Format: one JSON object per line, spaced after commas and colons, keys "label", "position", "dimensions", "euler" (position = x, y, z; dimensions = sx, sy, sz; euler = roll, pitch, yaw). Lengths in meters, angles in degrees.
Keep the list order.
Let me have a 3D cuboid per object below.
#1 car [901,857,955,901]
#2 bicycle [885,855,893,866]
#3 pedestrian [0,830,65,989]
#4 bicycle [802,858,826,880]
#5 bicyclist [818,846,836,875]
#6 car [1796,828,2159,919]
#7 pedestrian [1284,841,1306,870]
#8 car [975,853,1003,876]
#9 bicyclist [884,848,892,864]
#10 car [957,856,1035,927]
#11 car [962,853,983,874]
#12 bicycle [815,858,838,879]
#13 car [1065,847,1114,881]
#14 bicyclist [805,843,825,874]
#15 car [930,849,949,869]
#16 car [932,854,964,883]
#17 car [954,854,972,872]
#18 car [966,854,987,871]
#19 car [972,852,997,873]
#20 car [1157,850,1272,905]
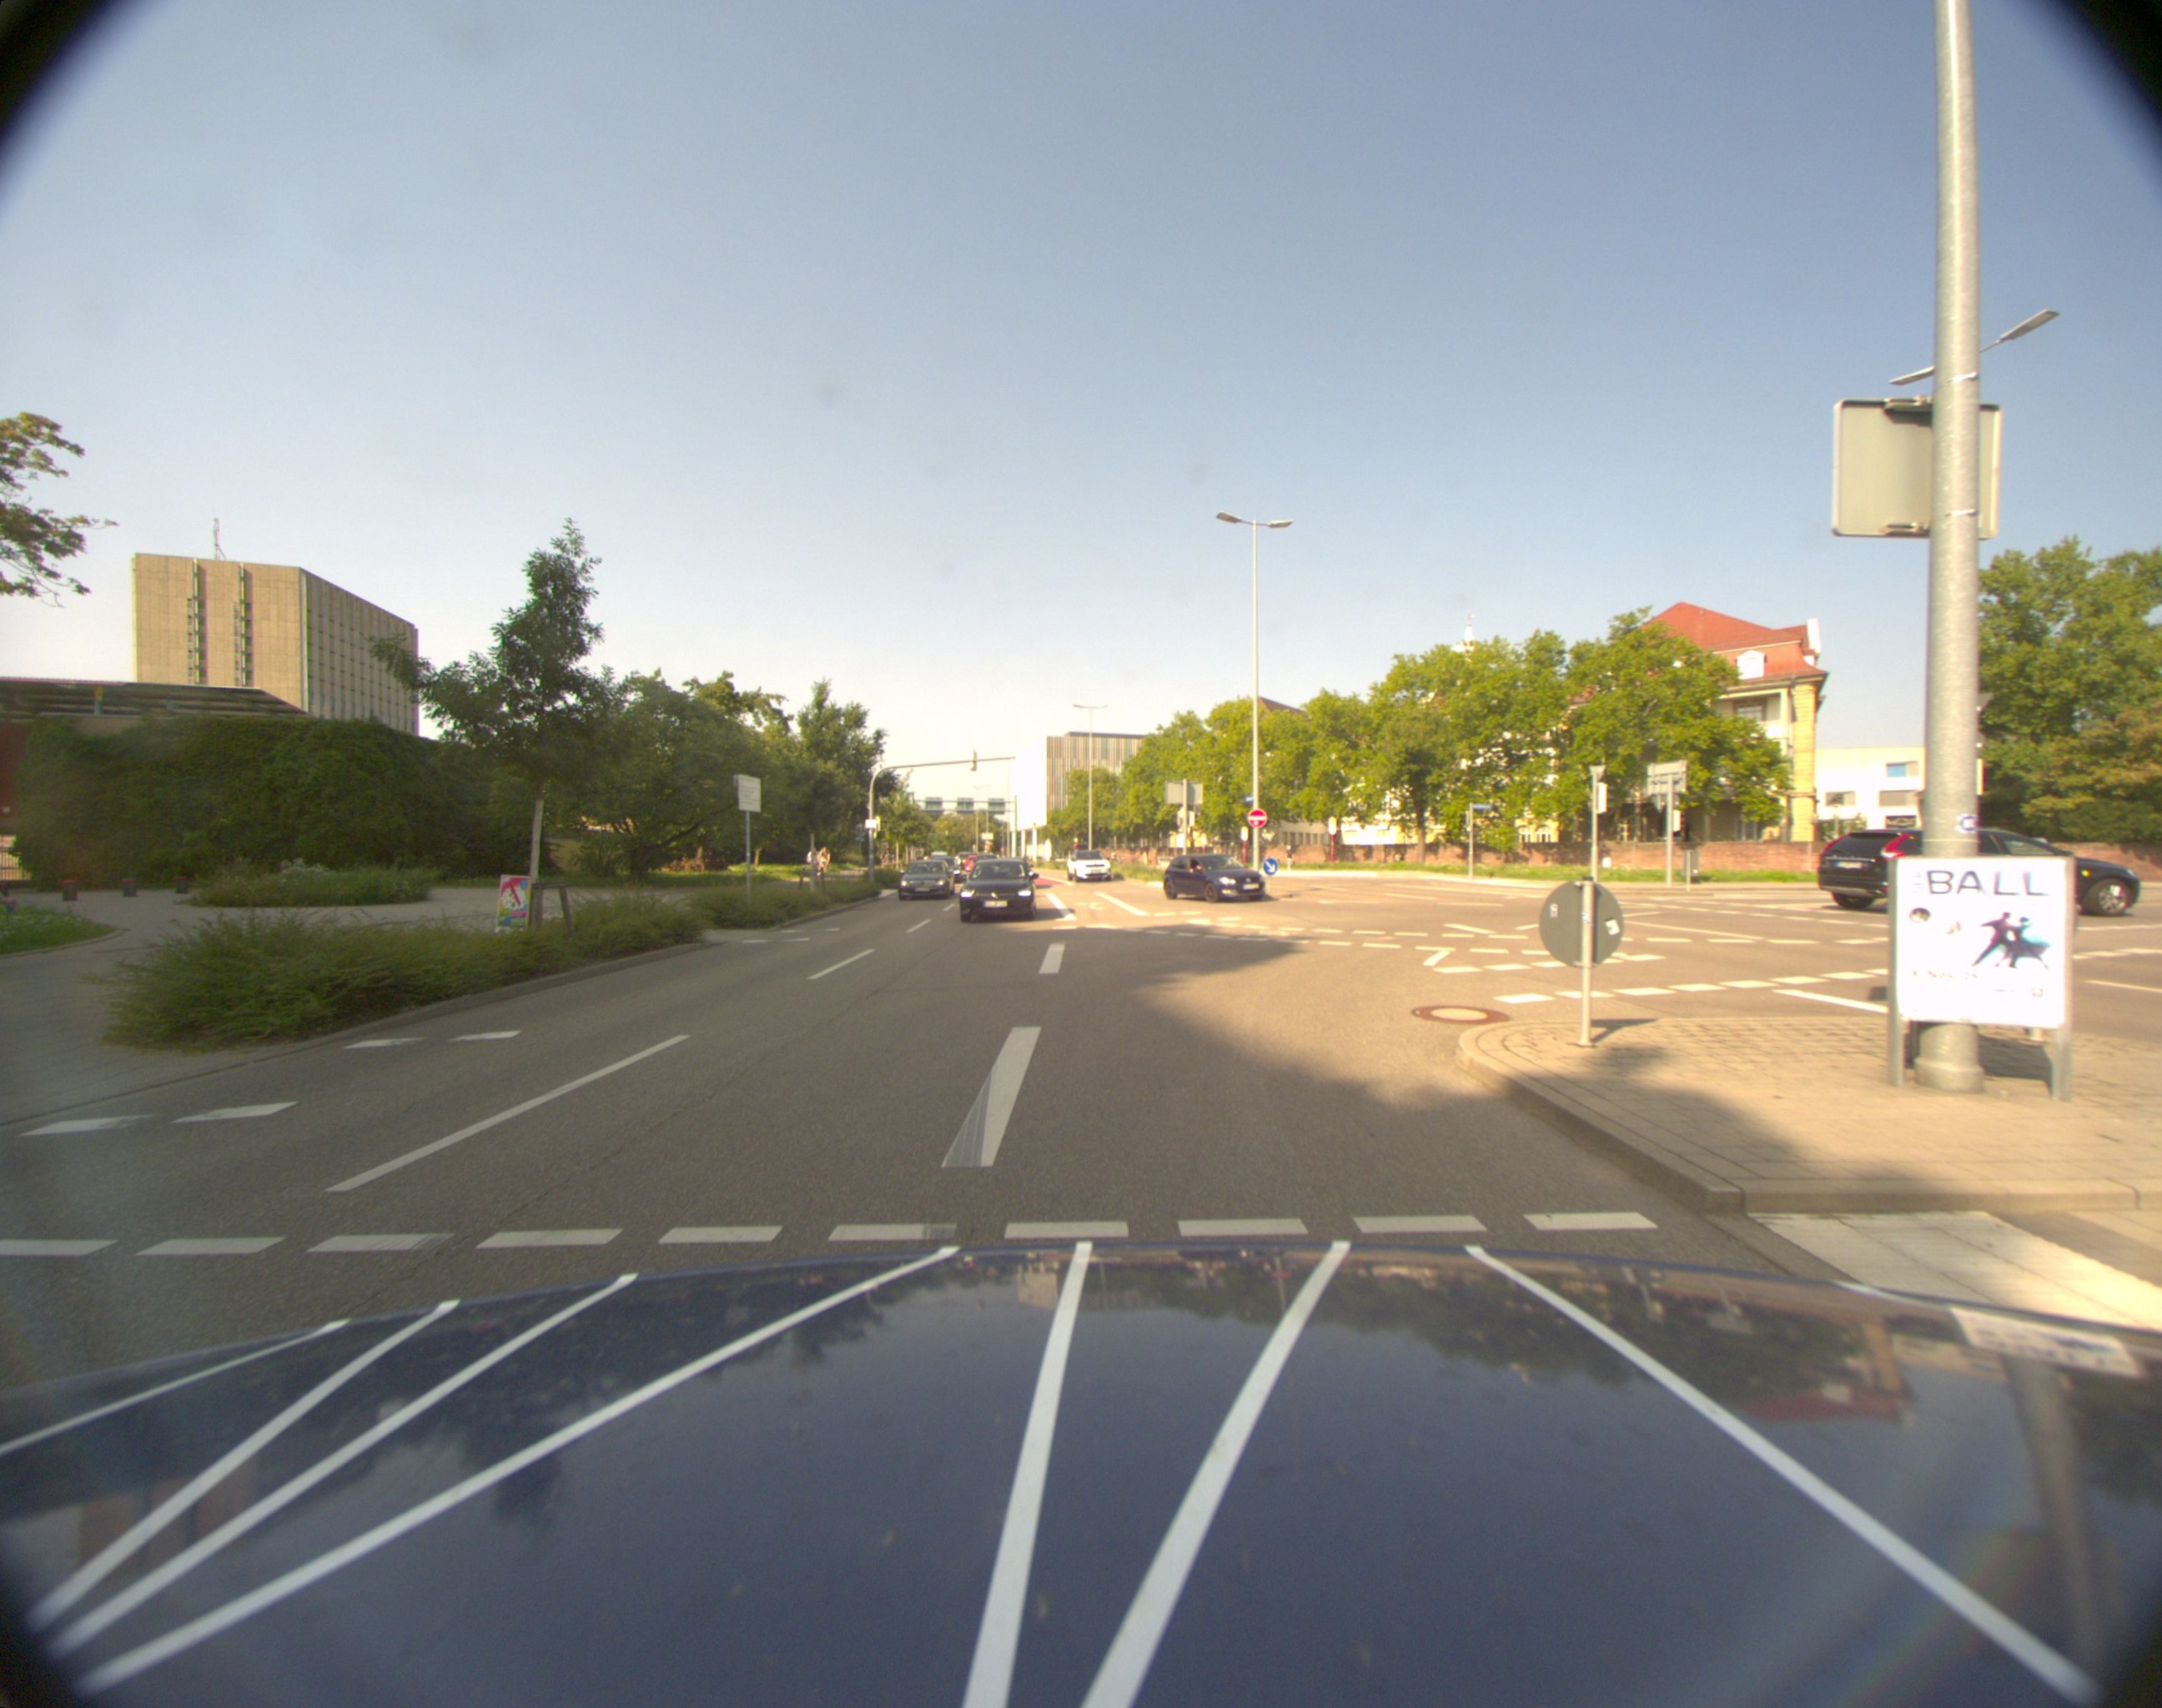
{"label": "car", "position": [-5.697, 0.876, 28.732], "dimensions": [1.688, 1.434, 4.369], "euler": [-1, 0, -7]}
{"label": "bicycle", "position": [-19.971, 0.676, 78.844], "dimensions": [0.774, 1.111, 2.300], "euler": [-1, 1, -15]}
{"label": "pedestrian", "position": [-12.543, 0.612, 8.509], "dimensions": [0.960, 1.772, 1.002], "euler": [2, 1, -1]}
{"label": "bicycle", "position": [-13.942, 0.770, 39.755], "dimensions": [0.773, 1.111, 2.302], "euler": [0, 0, -8]}
{"label": "bicyclist", "position": [-13.930, 0.356, 41.670], "dimensions": [0.773, 1.584, 0.923], "euler": [-1, 1, -8]}
{"label": "car", "position": [17.178, 0.345, 14.823], "dimensions": [4.366, 1.624, 2.001], "euler": [0, 1, 7]}
{"label": "pedestrian", "position": [15.050, 0.093, 53.477], "dimensions": [1.079, 2.002, 1.317], "euler": [-1, 1, -7]}
{"label": "car", "position": [-6.392, 0.692, 52.501], "dimensions": [1.688, 1.483, 4.368], "euler": [0, 0, -11]}
{"label": "bicyclist", "position": [-19.960, 0.217, 78.765], "dimensions": [0.774, 1.666, 0.923], "euler": [-1, 1, -15]}
{"label": "car", "position": [-2.050, 0.838, 19.018], "dimensions": [1.687, 1.483, 4.370], "euler": [-2, 0, -4]}
{"label": "car", "position": [-10.714, 0.920, 75.129], "dimensions": [1.689, 1.930, 4.068], "euler": [0, 0, -14]}
{"label": "bicycle", "position": [-13.916, 0.785, 41.647], "dimensions": [0.773, 1.111, 2.301], "euler": [-1, 1, -9]}
{"label": "car", "position": [0.399, 0.511, 40.587], "dimensions": [2.000, 1.624, 4.369], "euler": [-3, 0, -7]}
{"label": "bicyclist", "position": [-13.953, 0.223, 39.873], "dimensions": [0.773, 1.584, 0.923], "euler": [0, 1, -8]}
{"label": "car", "position": [-14.003, 0.463, 75.268], "dimensions": [1.689, 1.930, 4.367], "euler": [0, 0, -13]}
{"label": "car", "position": [-7.458, 0.759, 42.619], "dimensions": [1.688, 1.483, 4.668], "euler": [0, 0, -10]}
{"label": "car", "position": [-13.107, 0.968, 84.103], "dimensions": [1.689, 1.930, 4.068], "euler": [0, 0, -14]}
{"label": "car", "position": [-9.472, 0.772, 68.989], "dimensions": [1.688, 1.483, 4.368], "euler": [0, 0, -11]}
{"label": "car", "position": [-7.782, 0.637, 61.151], "dimensions": [1.784, 1.597, 4.416], "euler": [0, 1, -11]}
{"label": "car", "position": [3.931, 0.667, 23.055], "dimensions": [1.627, 1.489, 3.843], "euler": [-2, 0, -22]}
